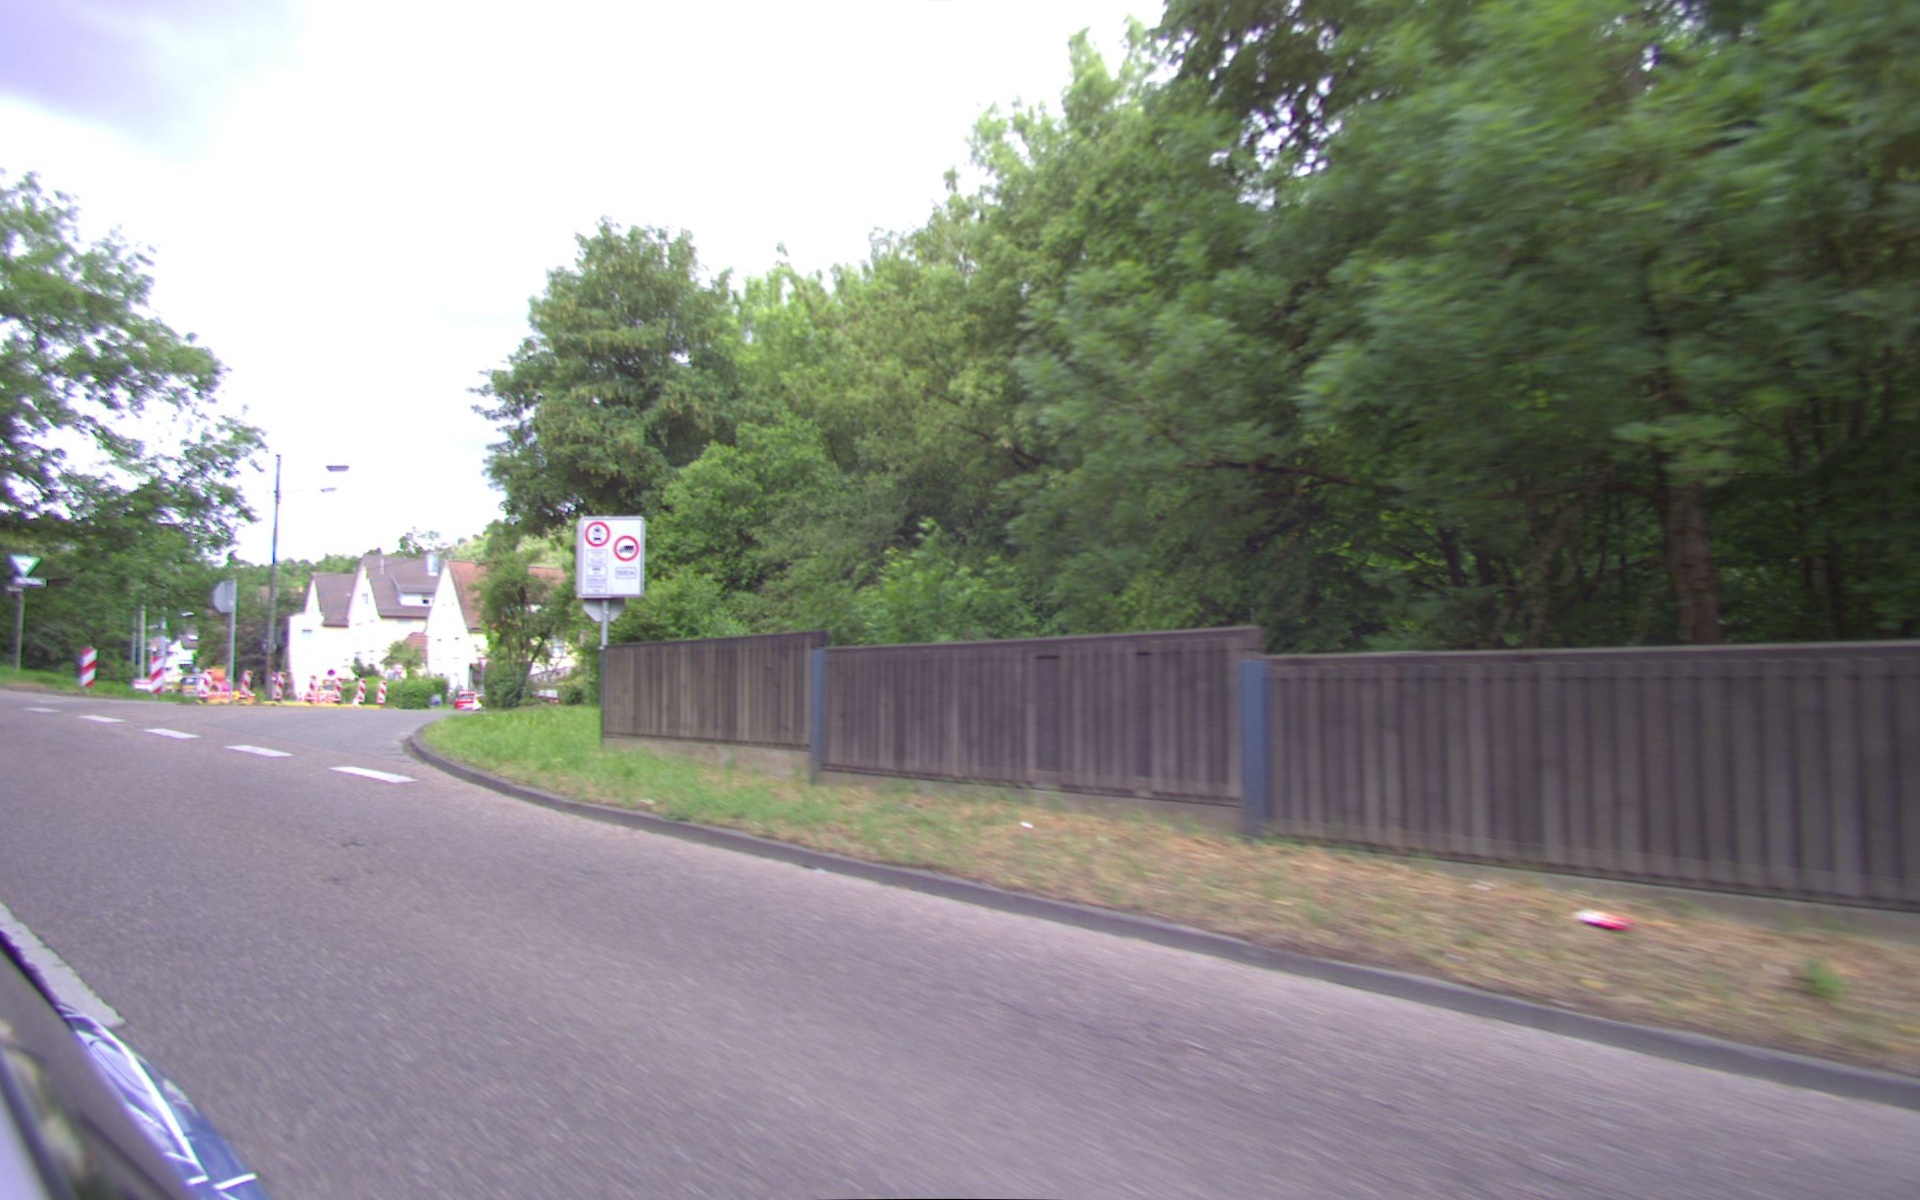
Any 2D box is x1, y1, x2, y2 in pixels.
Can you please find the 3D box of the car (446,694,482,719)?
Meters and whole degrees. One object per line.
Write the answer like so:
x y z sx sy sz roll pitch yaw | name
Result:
-32.184 6.948 65.721 1.727 1.400 4.012 8 -9 -23 | car
